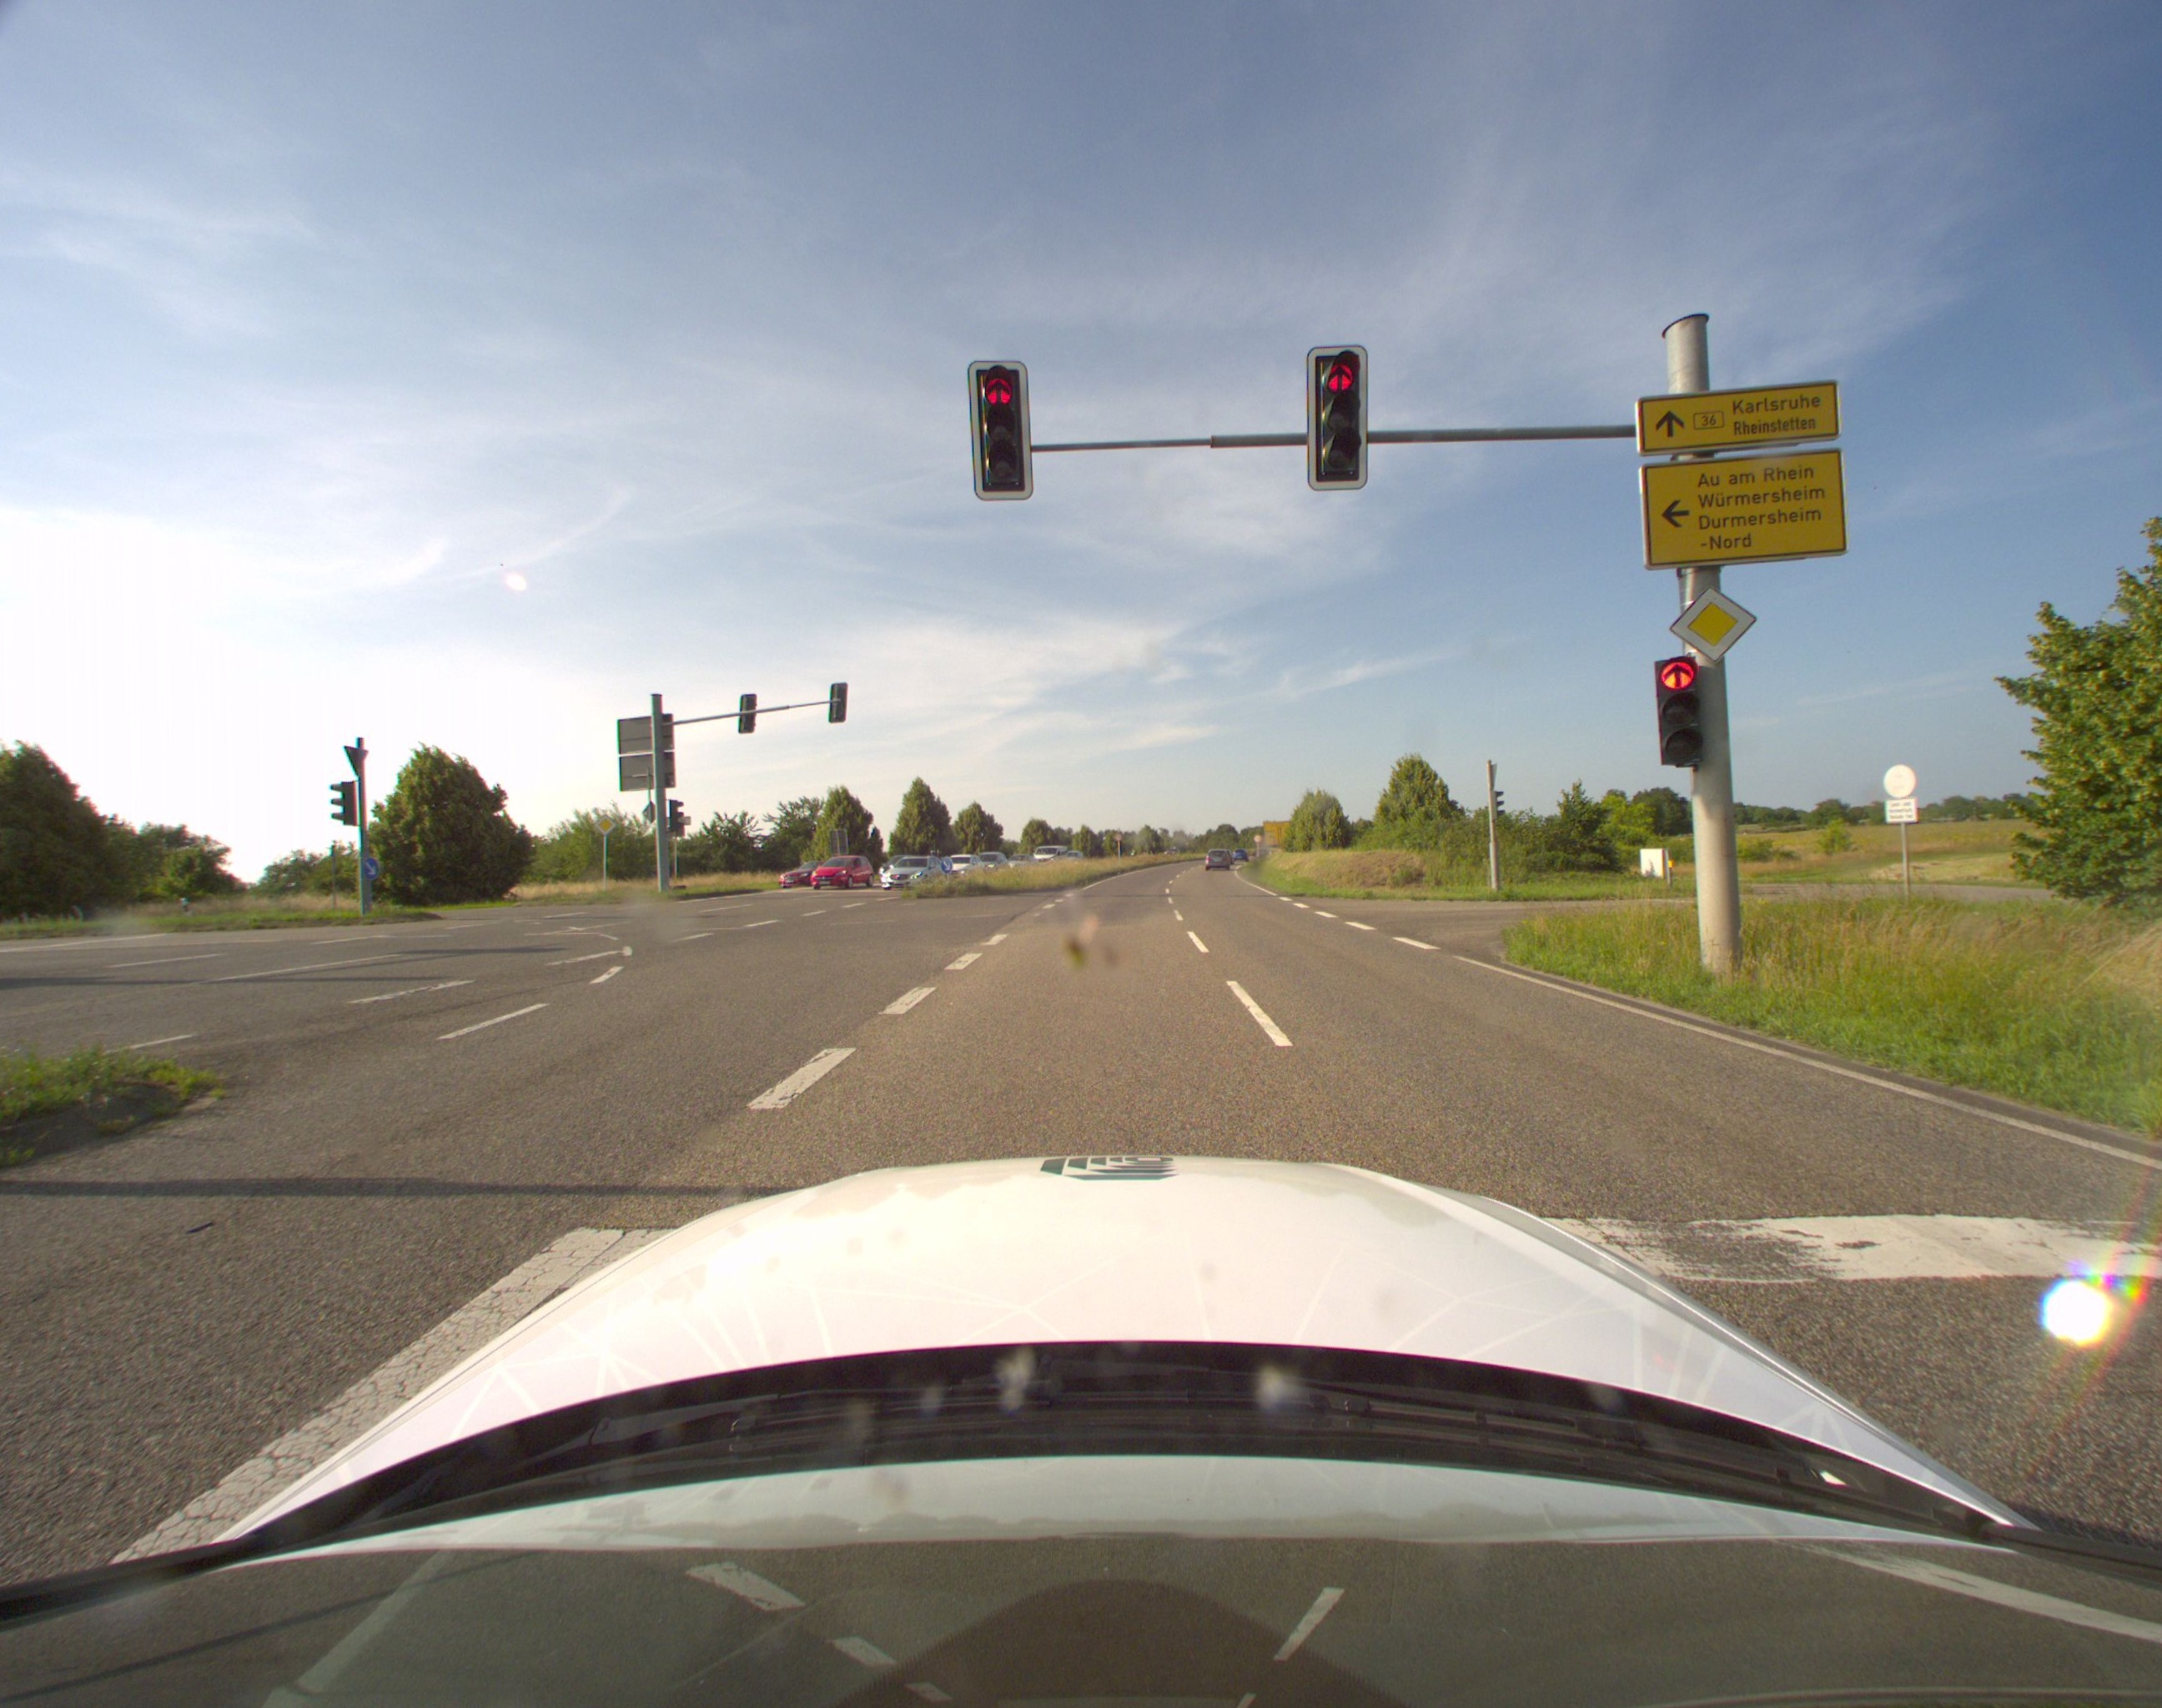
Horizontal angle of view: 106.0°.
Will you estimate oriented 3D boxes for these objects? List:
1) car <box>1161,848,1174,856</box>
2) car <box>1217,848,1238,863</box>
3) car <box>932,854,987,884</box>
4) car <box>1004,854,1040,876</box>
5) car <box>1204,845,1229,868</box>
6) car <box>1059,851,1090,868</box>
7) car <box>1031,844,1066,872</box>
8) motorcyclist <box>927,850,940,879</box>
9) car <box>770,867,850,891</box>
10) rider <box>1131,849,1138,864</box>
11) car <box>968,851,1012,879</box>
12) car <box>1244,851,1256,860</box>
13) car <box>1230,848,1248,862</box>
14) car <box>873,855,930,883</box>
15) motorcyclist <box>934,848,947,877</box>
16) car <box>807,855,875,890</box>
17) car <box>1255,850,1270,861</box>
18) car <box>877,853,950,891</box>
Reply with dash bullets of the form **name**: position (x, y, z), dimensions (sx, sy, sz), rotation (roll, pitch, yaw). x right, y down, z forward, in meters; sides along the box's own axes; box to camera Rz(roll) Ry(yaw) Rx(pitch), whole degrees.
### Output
- **car**: position (14.362, -0.331, 134.468), dimensions (1.394, 1.402, 3.438), rotation (-2, 0, 18)
- **car**: position (15.349, 0.146, 85.056), dimensions (1.796, 1.565, 4.549), rotation (-1, 0, 15)
- **car**: position (-6.422, 0.770, 43.482), dimensions (1.777, 1.433, 4.316), rotation (-2, 0, 6)
- **car**: position (-4.008, 0.736, 55.923), dimensions (1.777, 1.385, 4.058), rotation (-2, 0, 6)
- **car**: position (10.302, 0.216, 61.742), dimensions (1.773, 1.605, 4.207), rotation (-1, -1, 10)
- **car**: position (-0.557, 0.500, 73.922), dimensions (1.772, 1.385, 4.068), rotation (-2, 0, 16)
- **car**: position (-2.549, 0.315, 65.264), dimensions (1.913, 2.078, 4.255), rotation (-2, 0, 10)
- **motorcyclist**: position (-8.966, 0.652, 49.548), dimensions (0.660, 1.747, 0.605), rotation (-2, 0, -1)
- **car**: position (-14.563, 1.307, 44.037), dimensions (1.979, 1.101, 4.495), rotation (-2, 0, 14)
- **rider**: position (7.706, 0.352, 117.270), dimensions (0.861, 2.013, 0.775), rotation (-2, 0, 17)
- **car**: position (-5.521, 0.656, 49.708), dimensions (1.777, 1.568, 4.058), rotation (-2, 0, 6)
- **car**: position (28.342, 0.288, 136.491), dimensions (1.760, 1.492, 3.999), rotation (-1, 0, 13)
- **car**: position (18.559, 0.102, 95.557), dimensions (1.759, 1.492, 4.002), rotation (-1, 0, 16)
- **car**: position (-9.795, 0.790, 44.743), dimensions (1.777, 1.433, 4.058), rotation (-2, 0, 6)
- **motorcyclist**: position (-9.080, 0.549, 52.686), dimensions (0.660, 1.817, 0.605), rotation (-2, 0, -1)
- **car**: position (-10.917, 0.797, 37.334), dimensions (1.713, 1.488, 3.808), rotation (-2, 0, 4)
- **car**: position (25.862, 0.190, 116.138), dimensions (1.900, 1.416, 3.811), rotation (-1, -1, 15)
- **car**: position (-7.272, 0.736, 35.823), dimensions (1.777, 1.488, 4.659), rotation (-2, 0, 6)
